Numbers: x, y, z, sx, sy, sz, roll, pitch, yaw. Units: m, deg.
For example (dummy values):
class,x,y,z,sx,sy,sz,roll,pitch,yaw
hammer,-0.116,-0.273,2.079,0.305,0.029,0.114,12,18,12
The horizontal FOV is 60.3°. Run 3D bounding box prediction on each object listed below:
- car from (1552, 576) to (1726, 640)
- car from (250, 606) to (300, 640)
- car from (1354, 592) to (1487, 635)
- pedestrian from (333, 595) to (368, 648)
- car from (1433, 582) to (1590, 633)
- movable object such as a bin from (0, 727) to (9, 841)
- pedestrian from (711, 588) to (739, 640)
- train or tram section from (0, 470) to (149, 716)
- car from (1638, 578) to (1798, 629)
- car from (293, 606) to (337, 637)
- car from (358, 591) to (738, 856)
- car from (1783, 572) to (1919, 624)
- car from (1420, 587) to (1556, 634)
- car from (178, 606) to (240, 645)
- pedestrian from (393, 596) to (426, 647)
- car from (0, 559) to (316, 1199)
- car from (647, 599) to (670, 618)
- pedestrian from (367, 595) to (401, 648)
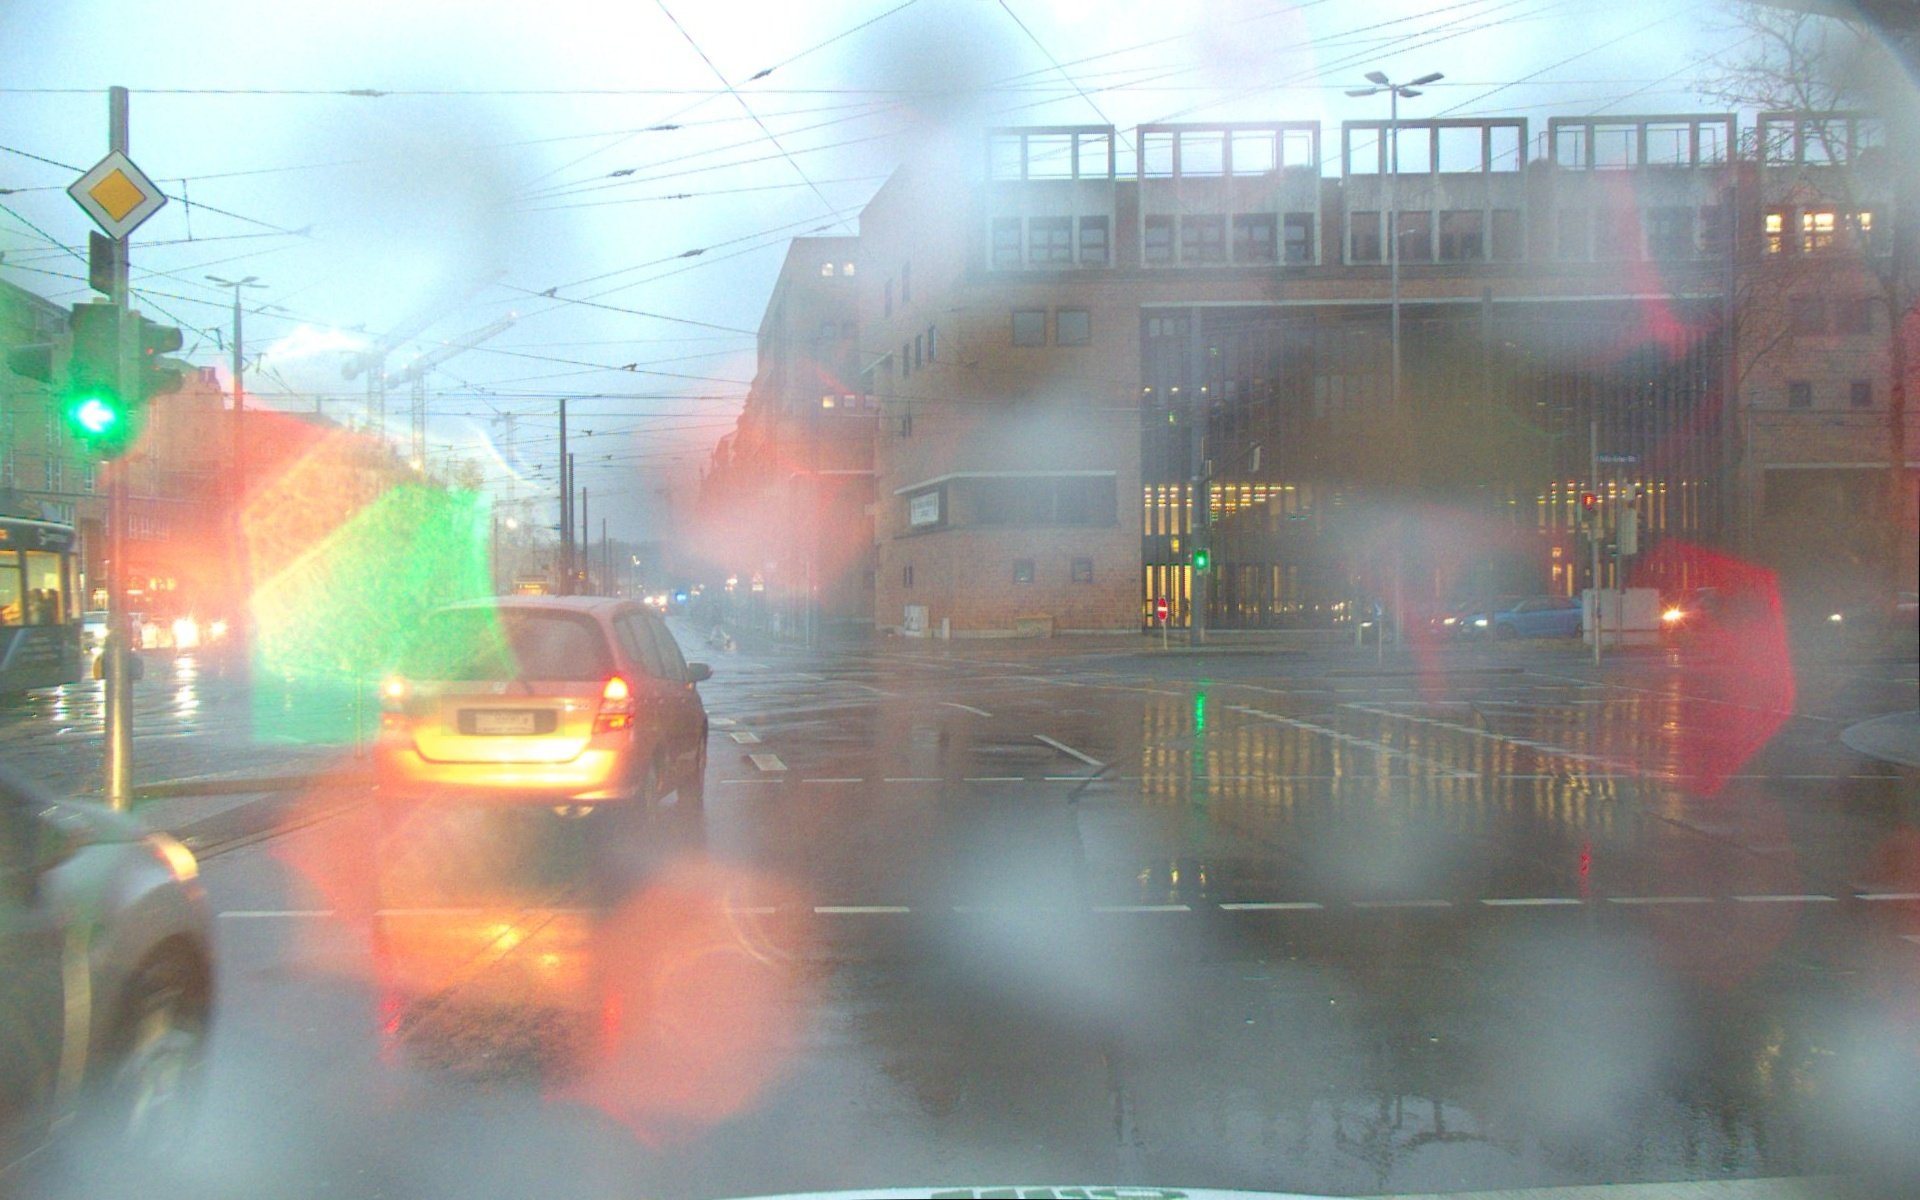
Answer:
class,x,y,z,sx,sy,sz,roll,pitch,yaw
car,18.231,0.197,44.507,3.910,1.530,1.846,-1,4,-7
car,-34.539,1.134,83.465,1.756,1.652,3.852,0,0,-14
car,15.542,0.441,55.959,3.909,1.333,1.998,-1,0,-5
pedestrian,-23.610,0.826,64.053,0.959,2.049,0.835,0,0,14
car,15.979,0.201,48.052,3.910,1.284,1.846,-1,4,-7
movable object such as a bin,-6.306,1.166,10.282,0.403,0.711,0.538,-3,-1,22
pedestrian,-9.381,0.542,65.957,1.050,2.049,0.683,0,0,-14
train or tram section,-15.382,-0.083,20.699,2.809,3.677,19.189,-1,0,-6
car,22.350,0.082,48.855,3.910,1.310,1.846,-1,4,-7
car,-35.573,1.169,91.312,1.756,1.652,3.852,0,0,-14
car,-2.602,0.699,11.313,1.663,1.485,3.757,-1,0,0
car,29.336,-0.094,54.127,3.910,1.530,1.846,-1,4,-7
car,16.606,0.308,52.148,3.649,1.284,1.846,-1,4,-7
car,-32.763,1.089,72.207,1.756,1.652,3.852,0,0,-14
pedestrian,-22.187,0.870,66.677,0.959,2.049,0.835,0,0,14
car,-2.749,0.652,2.916,1.670,1.473,3.999,-1,-2,0
car,-27.044,0.764,148.262,1.836,1.606,3.992,2,0,-9
pedestrian,-22.780,0.848,65.386,0.959,2.049,0.835,0,0,14
